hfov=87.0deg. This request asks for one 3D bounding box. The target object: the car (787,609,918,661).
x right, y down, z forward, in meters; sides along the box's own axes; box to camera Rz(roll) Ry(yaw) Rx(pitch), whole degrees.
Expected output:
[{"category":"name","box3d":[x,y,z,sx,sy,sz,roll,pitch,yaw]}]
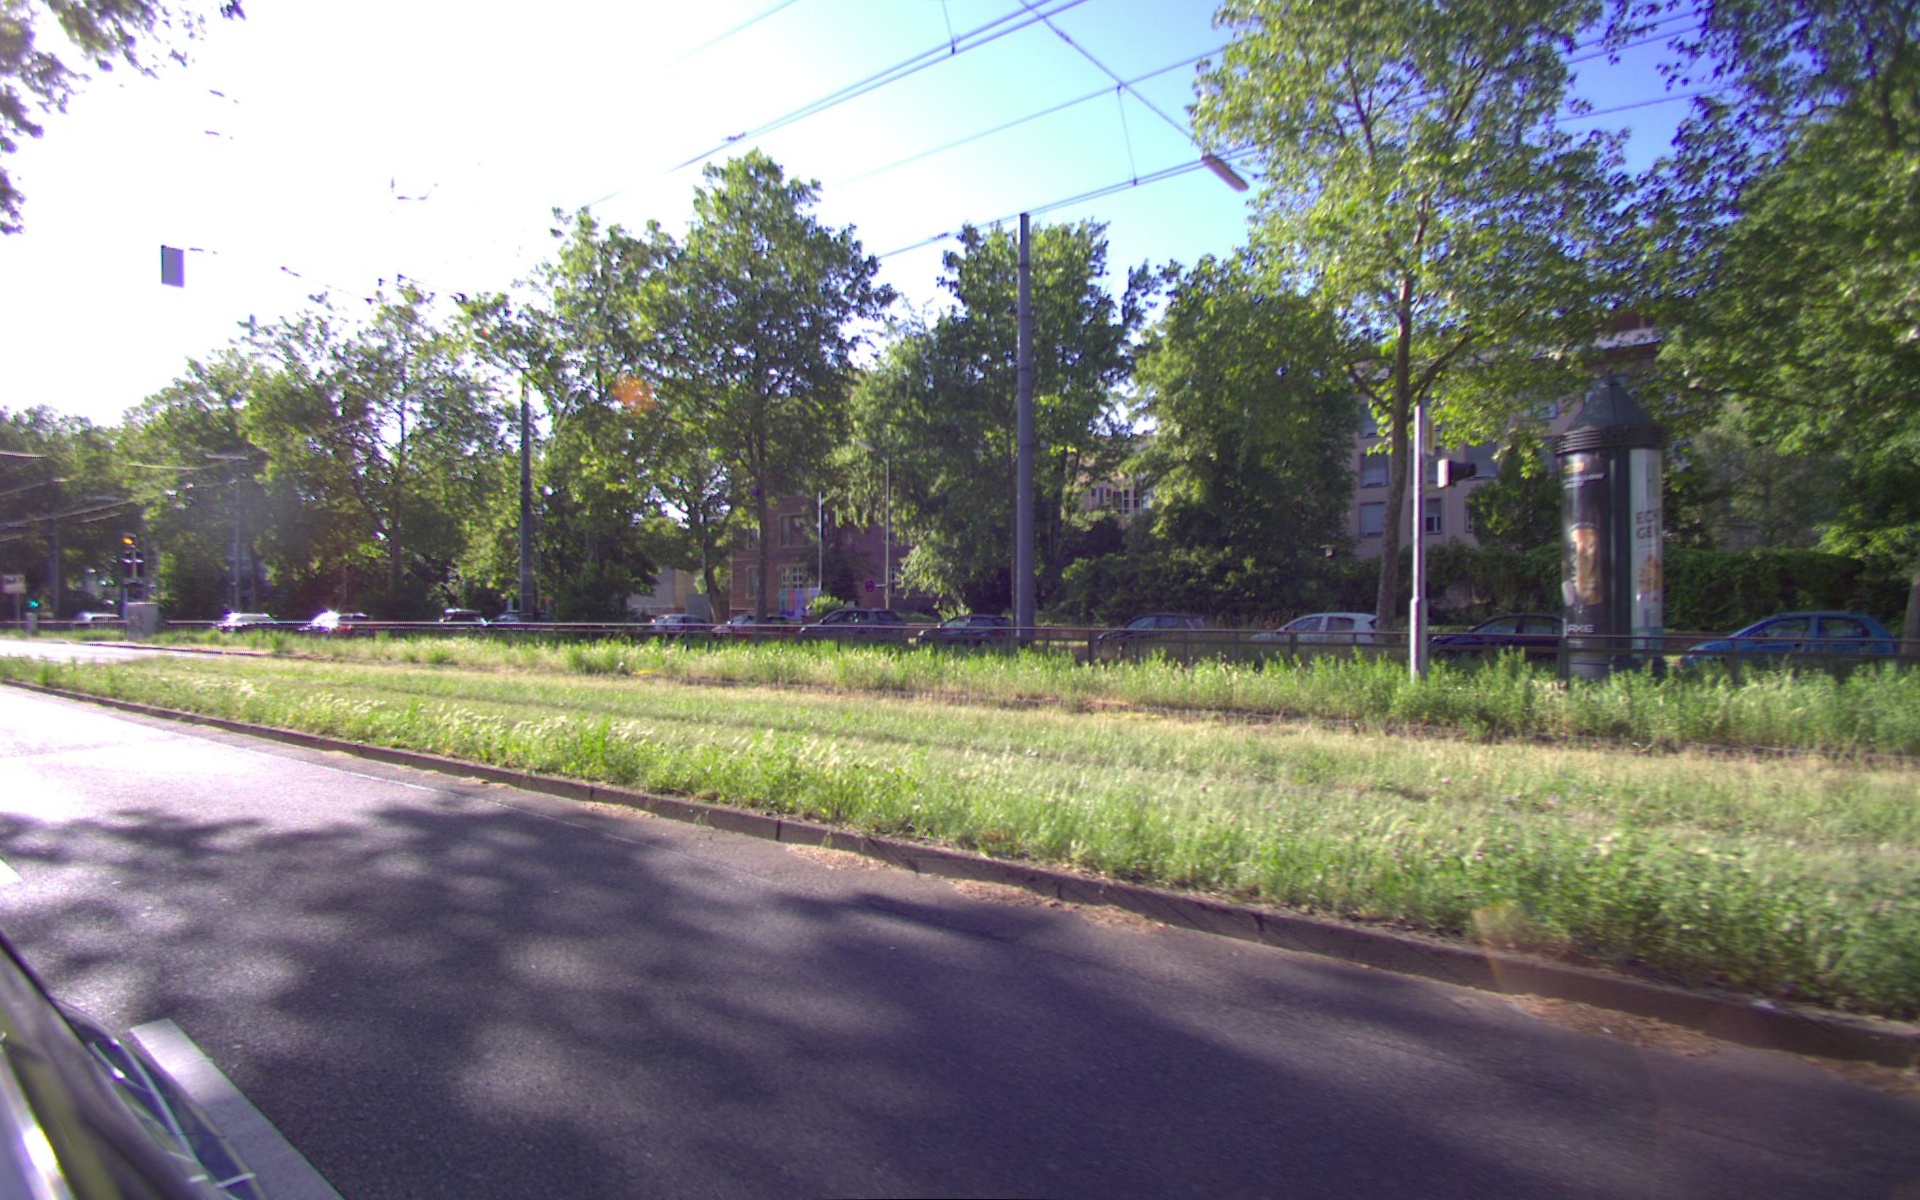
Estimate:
[{"category":"car","box3d":[-3.934,1.240,36.683,4.504,1.696,1.976,-2,1,35]}]

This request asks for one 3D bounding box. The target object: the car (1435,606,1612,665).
[{"category":"car","box3d":[12.700,0.757,22.869,3.353,1.238,1.394,-1,0,37]}]

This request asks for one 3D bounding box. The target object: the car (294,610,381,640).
[{"category":"car","box3d":[-26.587,1.070,43.180,4.701,1.143,1.673,-2,1,39]}]

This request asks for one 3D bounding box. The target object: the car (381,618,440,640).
[{"category":"car","box3d":[-31.026,1.626,57.157,3.758,1.230,1.605,-1,-1,38]}]

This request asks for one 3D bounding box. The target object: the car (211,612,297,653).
[{"category":"car","box3d":[-29.180,1.330,41.803,4.042,1.563,1.777,-2,1,38]}]

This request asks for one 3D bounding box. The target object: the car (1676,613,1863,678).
[{"category":"car","box3d":[16.113,0.872,20.307,2.840,1.209,1.388,-1,0,37]}]

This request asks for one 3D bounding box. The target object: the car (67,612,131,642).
[{"category":"car","box3d":[-47.924,1.489,56.313,3.866,1.541,1.829,-2,1,36]}]

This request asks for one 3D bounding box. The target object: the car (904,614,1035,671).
[{"category":"car","box3d":[0.284,1.370,33.143,3.993,1.696,1.805,-2,1,37]}]

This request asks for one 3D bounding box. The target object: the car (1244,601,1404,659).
[{"category":"car","box3d":[9.226,0.753,25.747,3.499,1.322,1.553,-2,1,38]}]

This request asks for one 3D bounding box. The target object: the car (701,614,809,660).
[{"category":"car","box3d":[-8.138,1.446,40.027,3.991,1.634,1.976,-2,1,36]}]

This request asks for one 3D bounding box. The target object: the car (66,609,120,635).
[{"category":"car","box3d":[-60.327,1.533,70.409,4.590,1.631,1.868,-2,1,37]}]
